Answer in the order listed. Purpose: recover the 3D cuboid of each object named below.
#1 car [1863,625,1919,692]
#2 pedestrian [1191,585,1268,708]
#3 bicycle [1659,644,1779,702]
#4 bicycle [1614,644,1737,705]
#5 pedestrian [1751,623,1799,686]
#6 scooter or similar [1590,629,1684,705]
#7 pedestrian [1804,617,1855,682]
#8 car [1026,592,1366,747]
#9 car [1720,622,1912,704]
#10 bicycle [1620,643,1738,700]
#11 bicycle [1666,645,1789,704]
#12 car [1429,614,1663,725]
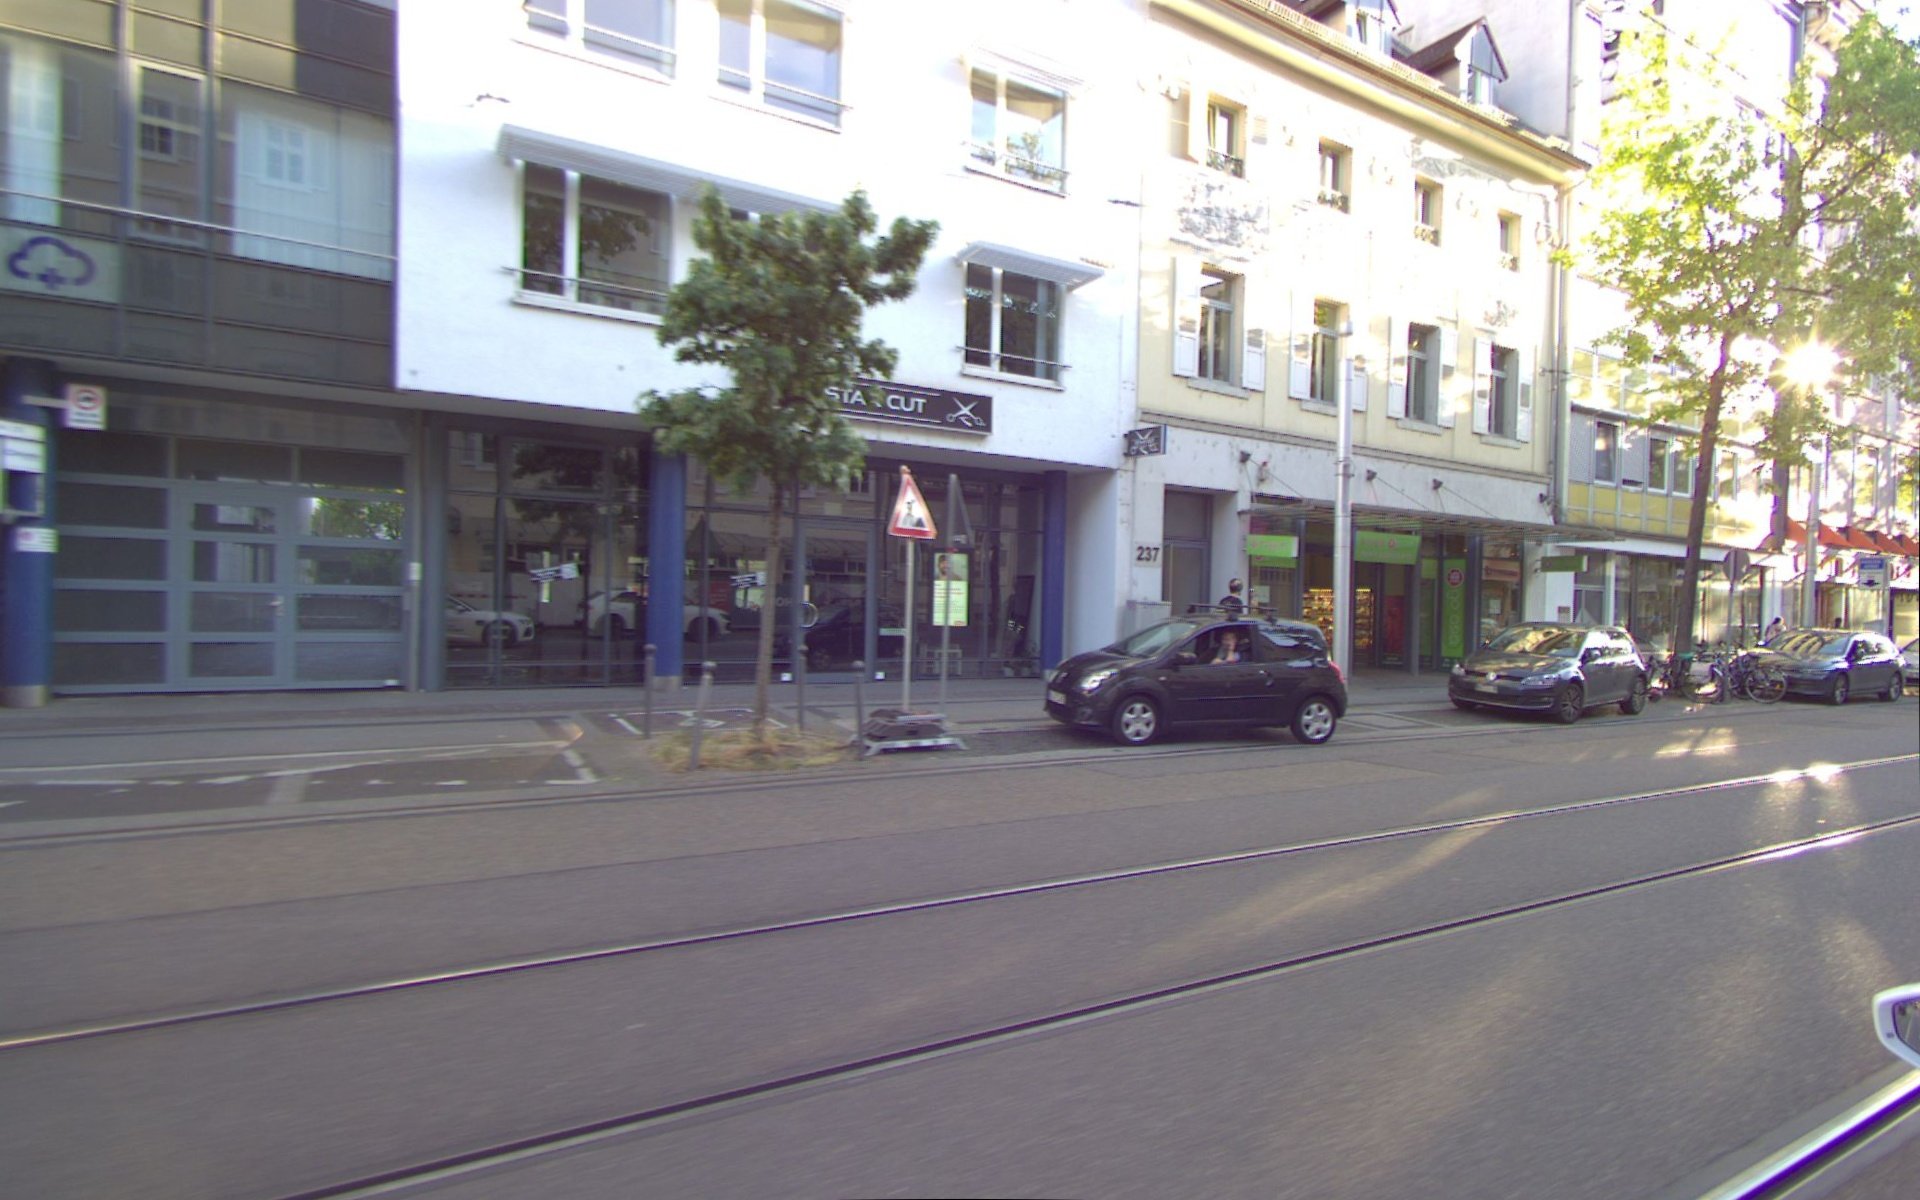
[{"bbox_3d":[23.911,1.428,24.210,4.119,1.517,1.761,2,0,-26],"label":"car"},{"bbox_3d":[4.220,0.715,15.730,0.868,1.850,0.656,1,3,-30],"label":"pedestrian"},{"bbox_3d":[15.272,1.446,20.266,0.326,1.015,1.963,1,0,-28],"label":"bicycle"},{"bbox_3d":[13.568,1.385,19.105,0.326,1.015,1.963,1,0,-27],"label":"bicycle"},{"bbox_3d":[22.911,1.505,28.231,0.903,1.716,0.785,1,0,-31],"label":"pedestrian"},{"bbox_3d":[12.689,1.225,18.863,0.370,1.288,1.414,1,2,-25],"label":"scooter or similar"},{"bbox_3d":[23.615,1.330,27.287,0.732,1.716,0.839,1,0,-31],"label":"pedestrian"},{"bbox_3d":[2.809,0.796,12.188,3.647,1.638,1.630,1,2,-16],"label":"car"},{"bbox_3d":[18.168,1.285,21.276,4.434,1.480,1.703,2,1,-31],"label":"car"},{"bbox_3d":[14.391,1.409,20.163,0.414,1.015,1.964,1,0,-25],"label":"bicycle"},{"bbox_3d":[15.091,1.441,19.809,0.326,1.015,1.963,1,0,-27],"label":"bicycle"},{"bbox_3d":[9.683,1.064,16.494,4.203,1.510,1.779,2,1,-37],"label":"car"}]
